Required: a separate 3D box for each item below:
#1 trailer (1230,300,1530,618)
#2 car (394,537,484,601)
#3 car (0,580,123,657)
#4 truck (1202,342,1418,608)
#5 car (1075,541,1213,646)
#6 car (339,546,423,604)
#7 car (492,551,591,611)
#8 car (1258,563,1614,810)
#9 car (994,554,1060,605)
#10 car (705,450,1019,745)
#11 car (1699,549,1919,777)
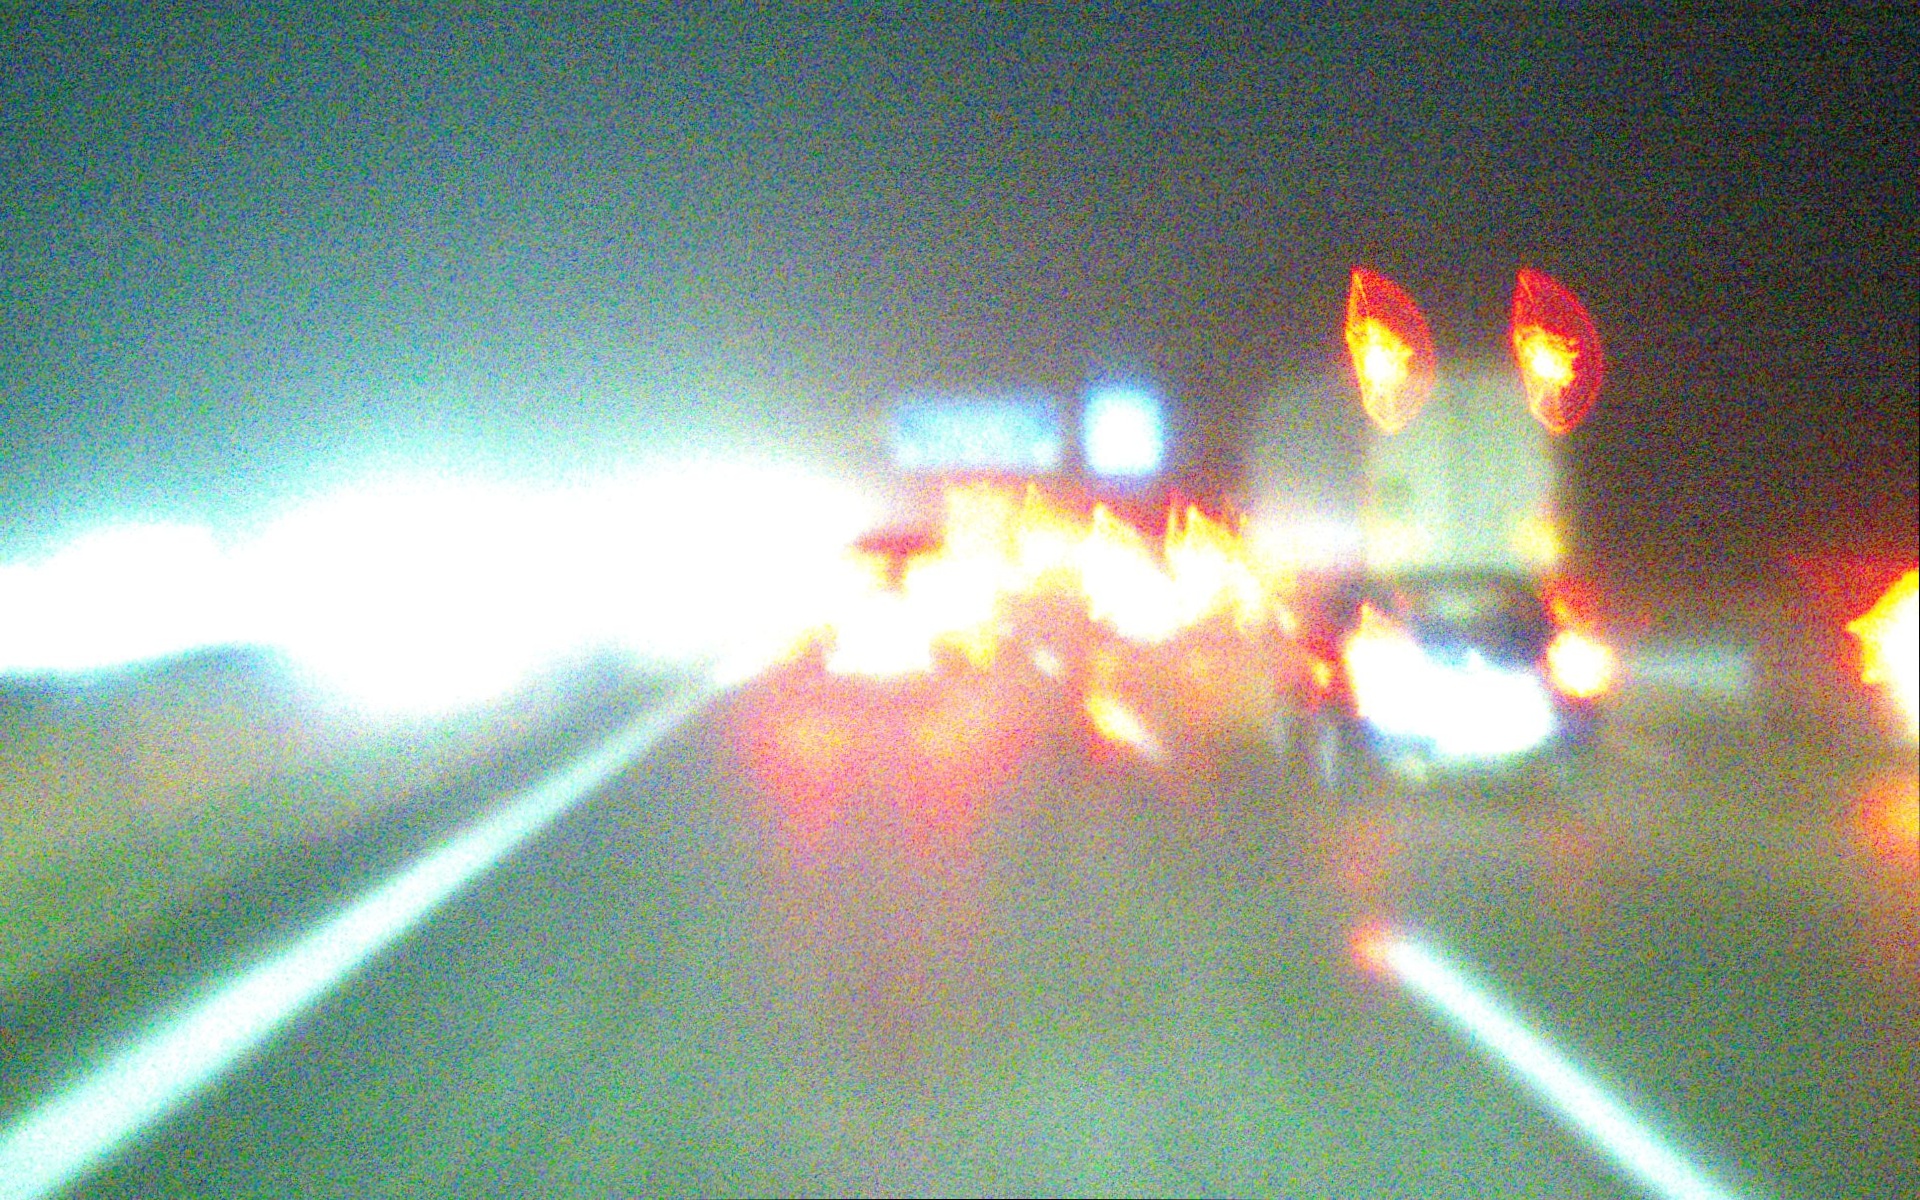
[{"bbox_3d":[6.054,-1.976,51.737,2.803,4.198,12.098,0,1,-1],"label":"trailer"},{"bbox_3d":[-13.754,-0.840,90.934,1.650,1.576,5.128,0,2,-1],"label":"car"},{"bbox_3d":[-17.617,0.340,66.435,1.962,1.340,4.289,0,2,-2],"label":"car"},{"bbox_3d":[5.911,-2.079,59.207,2.803,4.252,7.448,0,1,-1],"label":"truck"},{"bbox_3d":[2.871,-0.129,54.376,1.884,1.583,4.000,1,1,-1],"label":"car"},{"bbox_3d":[-17.546,-0.774,104.336,1.872,1.611,4.502,-2,1,-2],"label":"car"},{"bbox_3d":[-10.021,-0.482,82.563,1.962,1.340,4.289,0,2,-2],"label":"car"},{"bbox_3d":[2.930,0.486,21.853,1.612,1.407,3.792,0,1,-2],"label":"car"},{"bbox_3d":[2.213,-0.693,114.478,2.137,1.612,4.000,1,1,0],"label":"car"},{"bbox_3d":[-0.982,-0.094,33.490,2.709,2.525,5.832,-2,1,-2],"label":"car"},{"bbox_3d":[7.082,0.402,25.676,1.894,1.481,4.962,1,1,-2],"label":"car"}]
